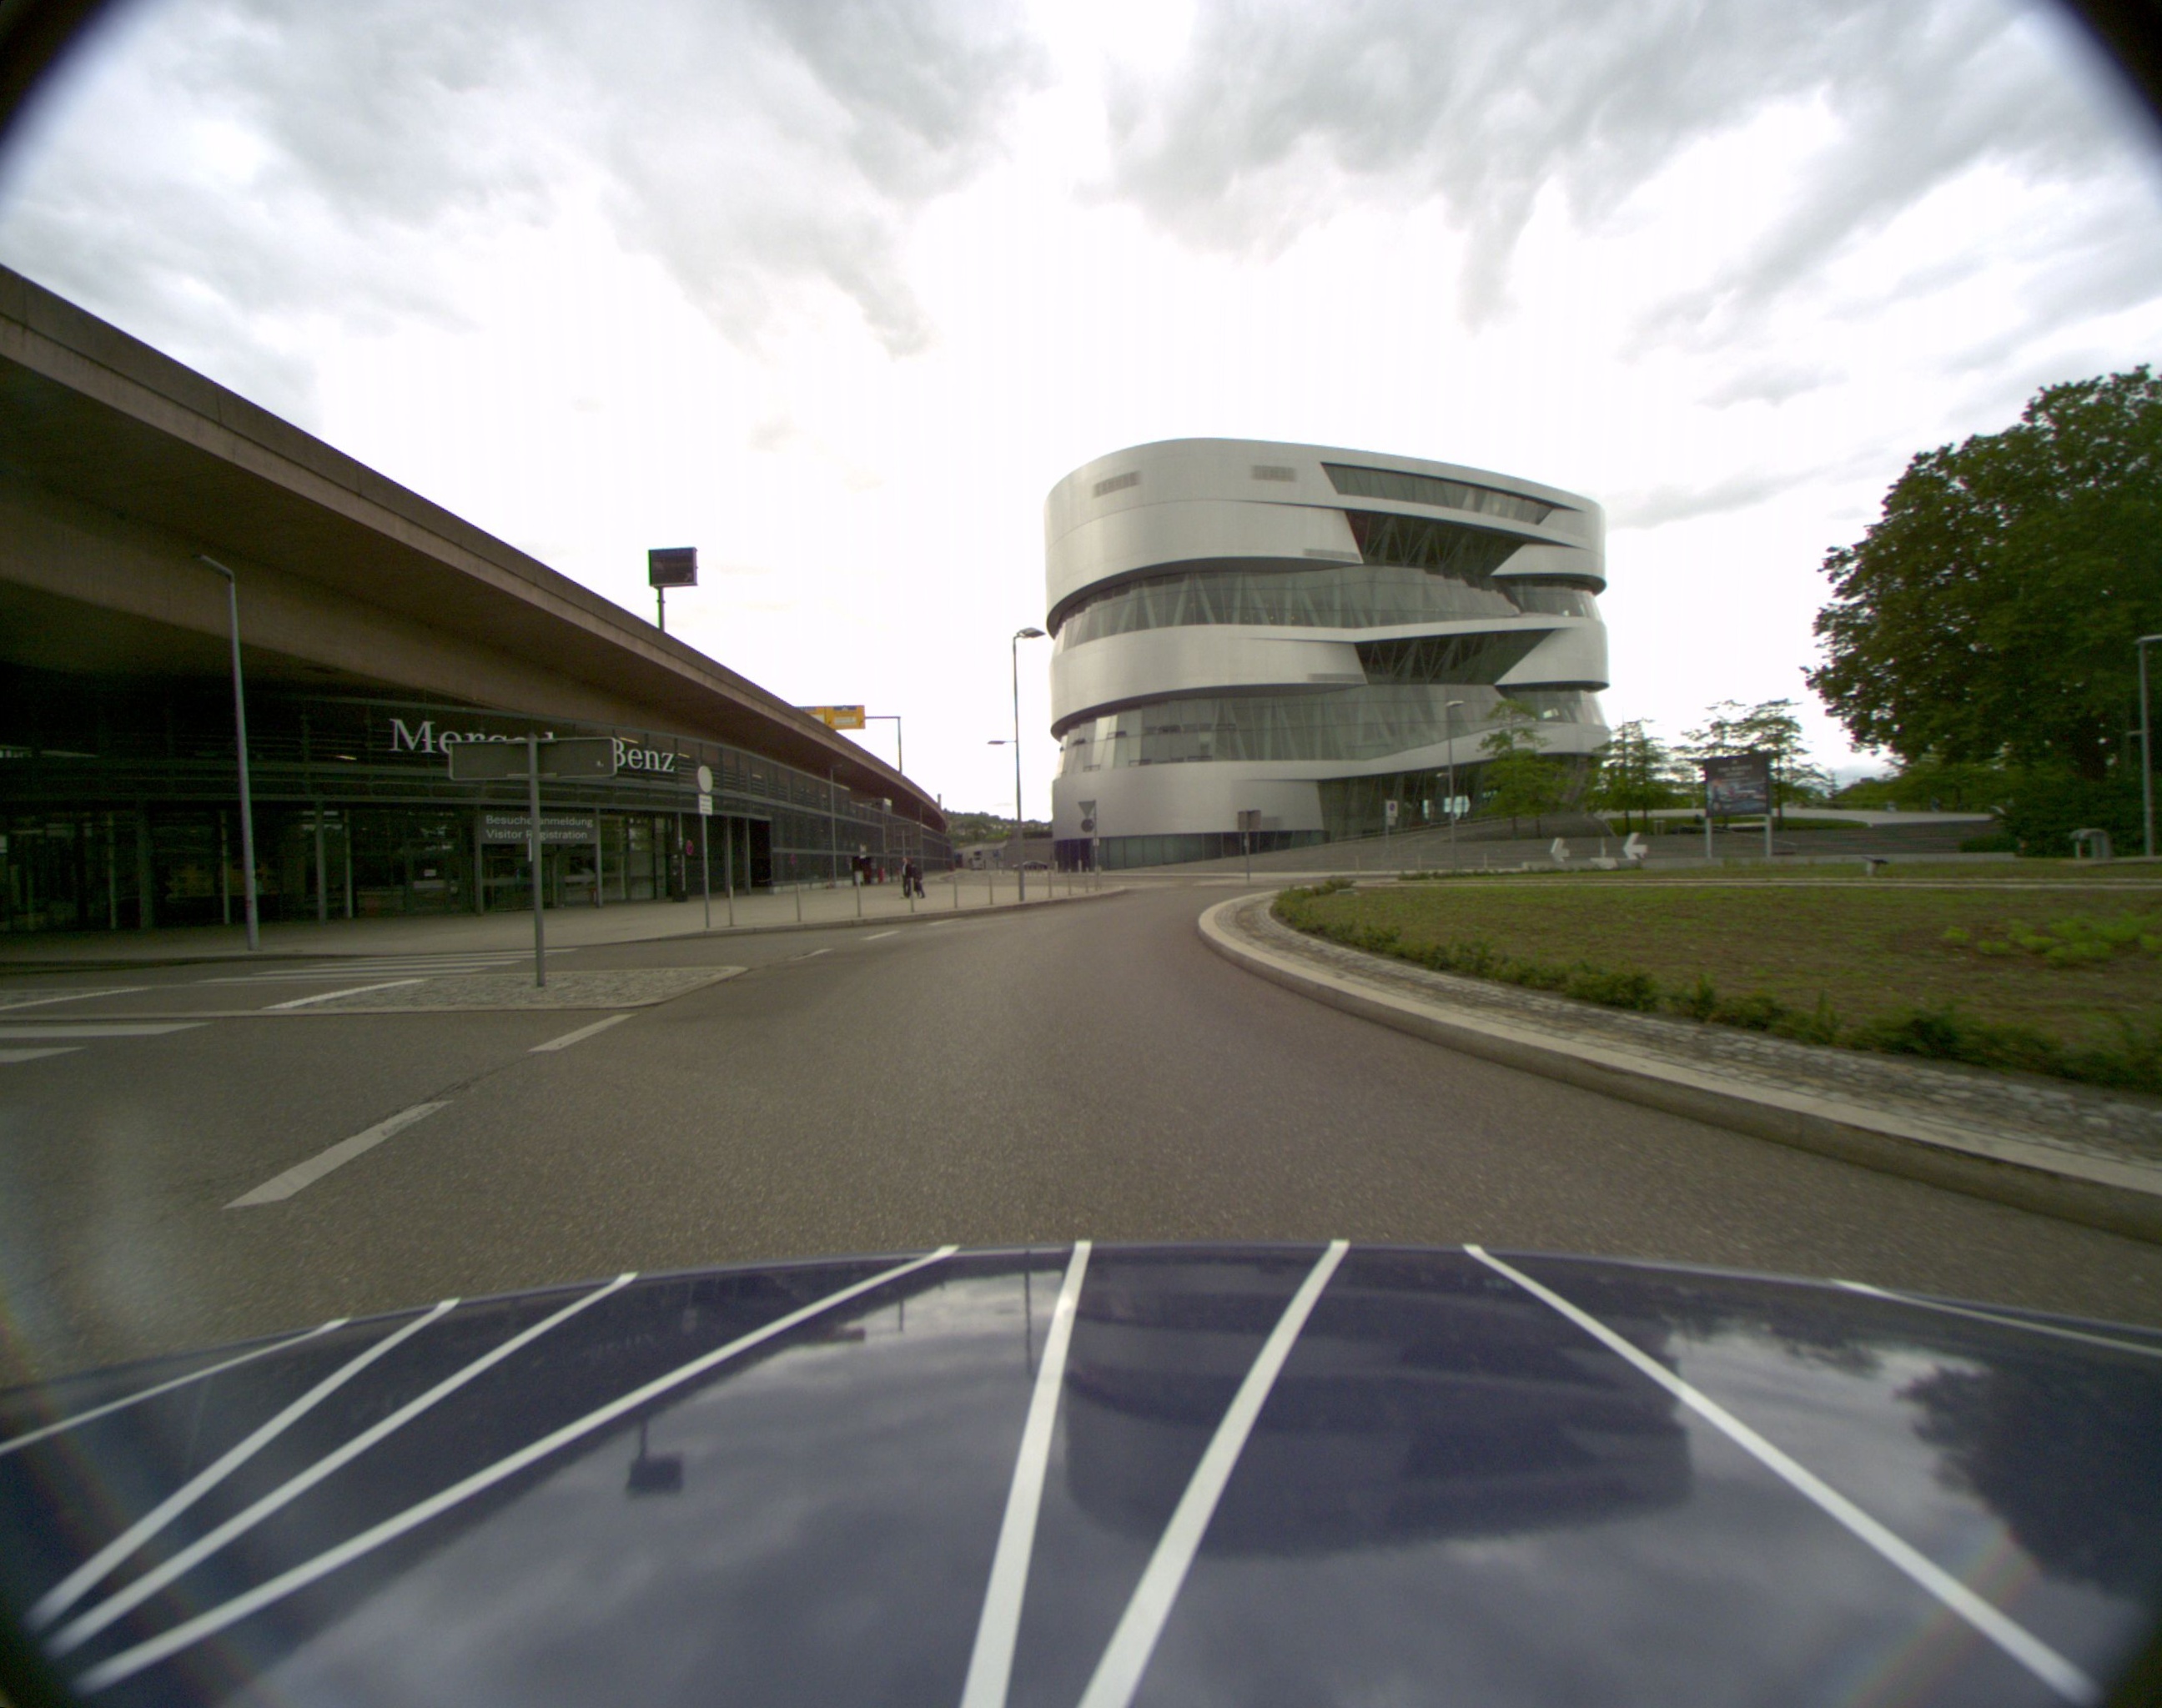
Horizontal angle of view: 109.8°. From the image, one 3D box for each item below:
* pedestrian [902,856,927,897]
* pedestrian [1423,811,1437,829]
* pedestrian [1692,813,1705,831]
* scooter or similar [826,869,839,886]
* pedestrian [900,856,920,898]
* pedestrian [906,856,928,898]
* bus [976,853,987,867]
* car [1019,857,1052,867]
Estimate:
[{"bbox_3d":[-7.077,0.952,32.311,0.774,1.695,0.785,-1,-1,-34],"label":"pedestrian"},{"bbox_3d":[39.450,-3.807,85.976,0.953,1.913,0.852,-6,0,-13],"label":"pedestrian"},{"bbox_3d":[51.463,-2.652,63.347,0.789,1.379,0.684,-2,-1,41],"label":"pedestrian"},{"bbox_3d":[-16.180,1.524,49.550,0.381,1.116,1.428,-1,-1,-1],"label":"scooter or similar"},{"bbox_3d":[-7.488,0.989,33.280,0.783,1.787,0.865,-1,-1,-12],"label":"pedestrian"},{"bbox_3d":[-6.761,0.941,31.358,0.773,1.695,0.864,-1,-1,-17],"label":"pedestrian"},{"bbox_3d":[-26.461,1.609,202.242,2.932,3.420,6.964,-1,-1,-7],"label":"bus"},{"bbox_3d":[-6.918,1.272,114.644,4.905,1.390,1.535,-1,-1,-4],"label":"car"}]
